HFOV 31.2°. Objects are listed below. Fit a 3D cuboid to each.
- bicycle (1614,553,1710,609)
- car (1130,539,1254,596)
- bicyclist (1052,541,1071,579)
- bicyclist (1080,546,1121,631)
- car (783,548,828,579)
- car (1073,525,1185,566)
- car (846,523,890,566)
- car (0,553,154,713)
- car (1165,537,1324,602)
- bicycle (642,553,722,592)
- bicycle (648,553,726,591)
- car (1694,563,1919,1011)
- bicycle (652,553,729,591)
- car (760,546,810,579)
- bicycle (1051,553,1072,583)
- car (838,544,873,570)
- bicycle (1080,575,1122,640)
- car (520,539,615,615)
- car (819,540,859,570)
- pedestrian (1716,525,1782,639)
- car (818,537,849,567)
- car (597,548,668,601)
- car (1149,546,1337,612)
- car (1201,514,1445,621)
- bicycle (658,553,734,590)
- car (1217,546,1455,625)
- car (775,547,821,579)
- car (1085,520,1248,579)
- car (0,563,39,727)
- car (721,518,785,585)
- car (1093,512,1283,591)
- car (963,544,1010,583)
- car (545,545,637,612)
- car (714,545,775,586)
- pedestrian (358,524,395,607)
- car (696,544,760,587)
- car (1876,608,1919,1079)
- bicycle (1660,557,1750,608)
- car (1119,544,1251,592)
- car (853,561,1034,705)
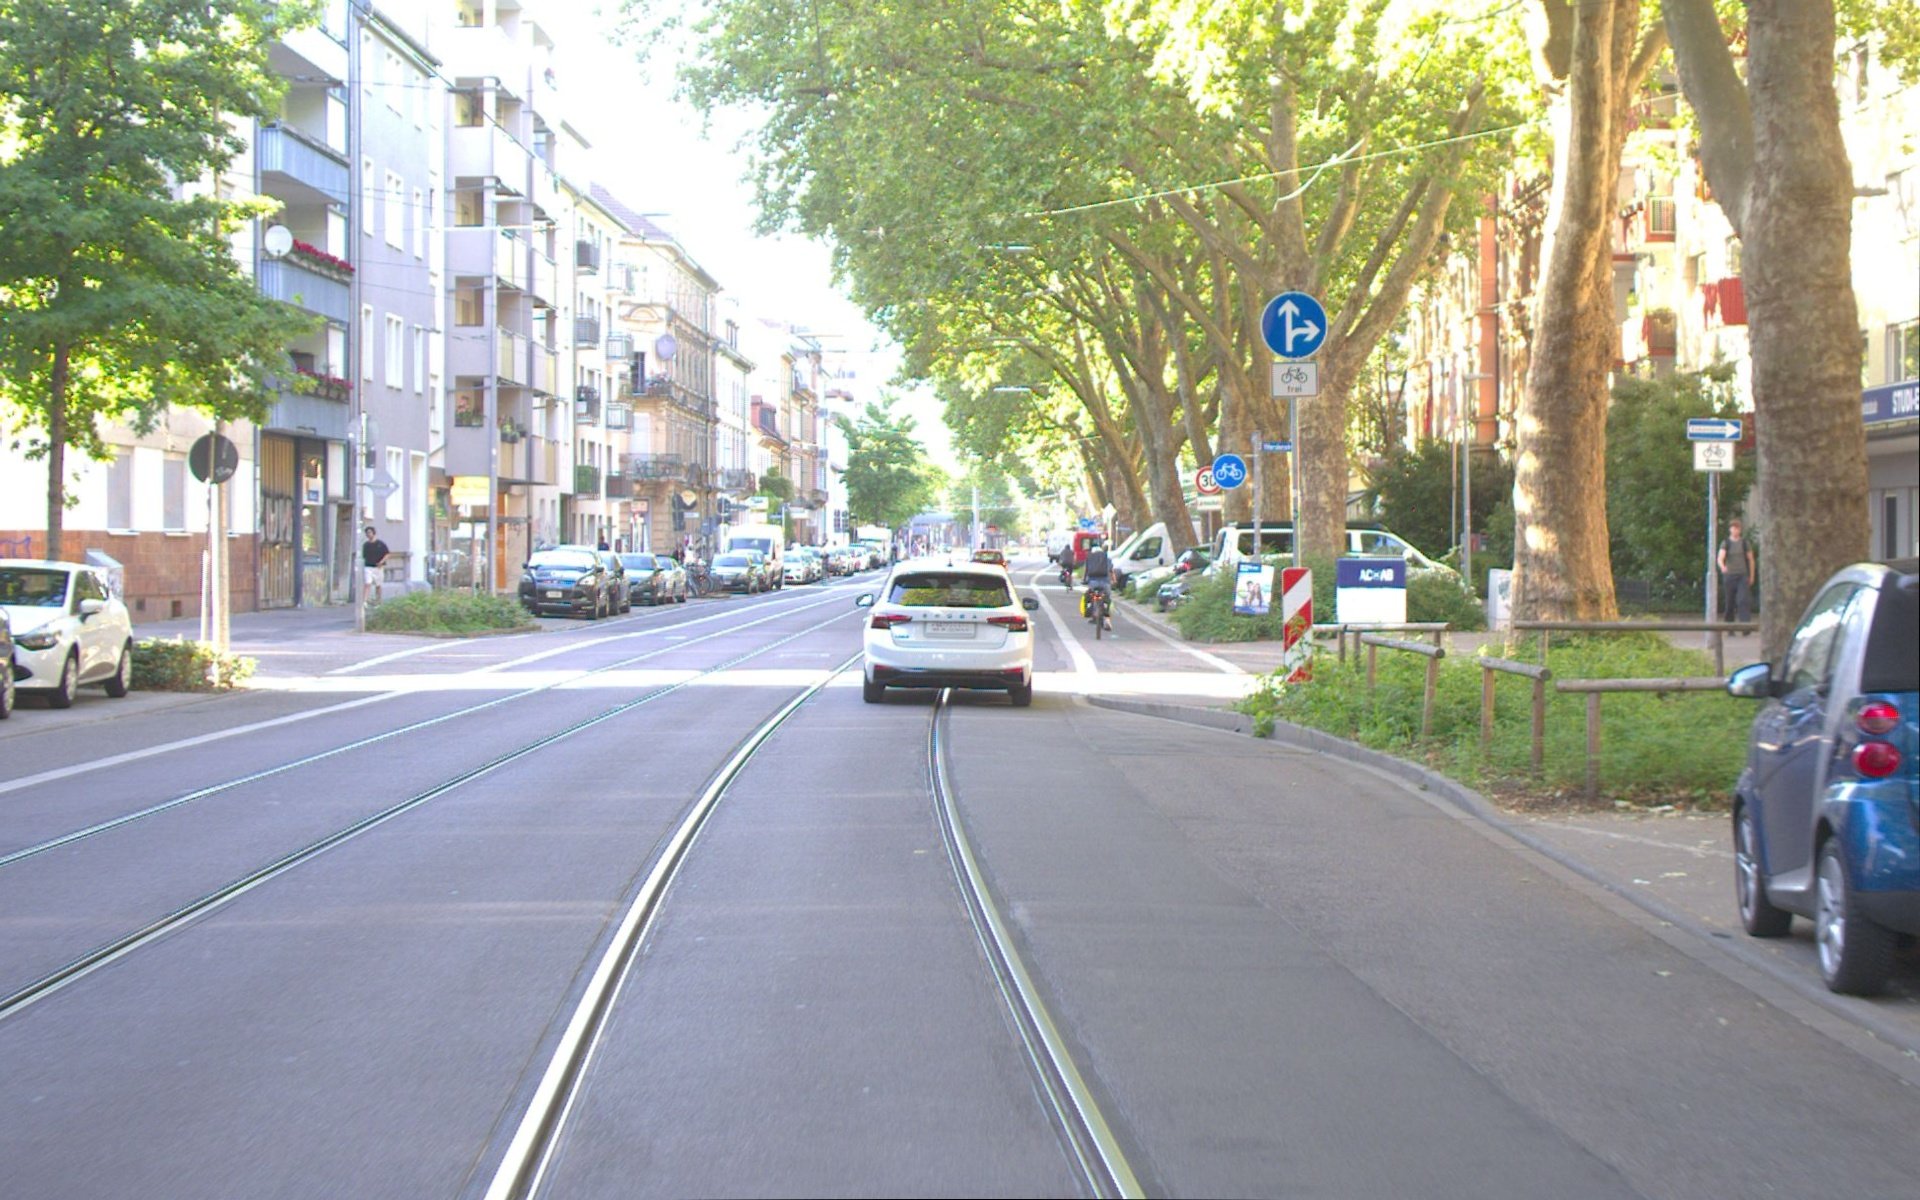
[{"bbox_3d":[15.293,-0.415,74.895,1.944,1.153,0.572,-2,1,-6],"label":"bicycle"},{"bbox_3d":[6.893,-0.977,102.358,3.634,1.661,1.822,0,1,3],"label":"car"},{"bbox_3d":[3.623,-1.424,122.984,0.649,1.339,0.934,0,1,-1],"label":"bicyclist"},{"bbox_3d":[2.408,-0.203,58.957,0.678,1.438,1.047,0,1,2],"label":"bicyclist"},{"bbox_3d":[-7.664,-1.827,170.839,1.993,1.525,4.000,0,1,1],"label":"car"},{"bbox_3d":[9.494,-3.066,193.415,6.130,2.274,2.529,0,1,-1],"label":"car"},{"bbox_3d":[-6.922,-4.185,259.425,2.968,3.145,5.847,1,0,1],"label":"car"},{"bbox_3d":[-9.625,0.289,35.484,1.713,1.459,4.377,3,0,-3],"label":"car"},{"bbox_3d":[7.406,-0.814,89.731,3.987,1.674,1.723,0,1,0],"label":"car"},{"bbox_3d":[-9.109,-0.908,112.815,2.525,1.168,0.883,2,-1,-39],"label":"bicycle"},{"bbox_3d":[-9.035,-0.917,113.696,2.524,1.168,0.719,2,-1,-5],"label":"bicycle"},{"bbox_3d":[3.835,0.617,13.089,1.564,1.514,2.910,-1,0,3],"label":"car"},{"bbox_3d":[-9.048,-0.949,115.571,2.524,1.168,0.719,2,-1,-4],"label":"bicycle"},{"bbox_3d":[-7.971,-1.721,156.880,1.993,1.525,4.000,0,1,1],"label":"car"},{"bbox_3d":[3.630,-1.135,122.975,0.649,1.067,1.583,0,1,-1],"label":"bicycle"},{"bbox_3d":[-6.617,-2.736,218.687,1.993,1.634,4.000,1,0,1],"label":"car"},{"bbox_3d":[2.416,0.122,58.909,0.681,1.067,1.781,0,1,1],"label":"bicycle"},{"bbox_3d":[-9.073,-0.564,79.741,1.702,1.645,4.242,2,1,-1],"label":"car"},{"bbox_3d":[-6.786,-2.532,192.856,1.993,1.634,4.000,1,0,1],"label":"car"},{"bbox_3d":[13.058,-0.307,56.931,0.766,1.860,1.189,0,1,-3],"label":"pedestrian"},{"bbox_3d":[-8.752,-3.329,238.016,1.993,2.007,4.000,0,1,1],"label":"car"},{"bbox_3d":[-9.101,-0.731,95.689,1.653,1.432,3.837,0,1,-1],"label":"car"},{"bbox_3d":[6.463,-0.490,78.838,4.142,1.509,1.931,0,1,0],"label":"car"},{"bbox_3d":[7.100,-0.646,67.605,4.543,2.069,2.001,0,1,-1],"label":"car"},{"bbox_3d":[-9.018,-0.972,117.475,2.524,1.168,0.719,2,-1,-5],"label":"bicycle"},{"bbox_3d":[7.077,-0.284,65.031,4.297,1.474,1.831,0,1,0],"label":"car"},{"bbox_3d":[-7.815,-1.792,166.032,1.993,1.525,4.000,0,1,1],"label":"car"},{"bbox_3d":[7.967,-1.963,133.205,6.130,2.274,2.529,0,1,-1],"label":"car"},{"bbox_3d":[-9.492,0.377,30.822,1.713,1.459,4.001,3,0,-6],"label":"car"},{"bbox_3d":[-8.188,-1.938,136.546,2.178,2.588,4.949,0,1,1],"label":"car"},{"bbox_3d":[7.577,-1.619,114.591,6.130,2.626,2.529,0,1,-1],"label":"car"},{"bbox_3d":[1.058,-1.449,135.482,1.761,1.470,4.000,0,1,1],"label":"car"},{"bbox_3d":[-9.087,-0.557,85.017,1.702,1.539,4.242,3,1,1],"label":"car"},{"bbox_3d":[-8.174,-1.314,130.608,1.993,1.525,4.000,0,1,1],"label":"car"},{"bbox_3d":[-12.921,-0.767,76.184,0.664,1.820,0.965,0,1,-1],"label":"pedestrian"},{"bbox_3d":[-8.414,-1.266,124.831,1.993,1.525,4.000,0,1,1],"label":"car"},{"bbox_3d":[3.909,0.726,8.549,1.816,1.431,4.603,-1,0,-3],"label":"car"},{"bbox_3d":[16.206,-0.385,74.808,1.791,1.038,0.618,-2,1,-3],"label":"bicycle"},{"bbox_3d":[7.297,-1.040,111.772,4.048,1.535,2.000,0,1,-5],"label":"car"},{"bbox_3d":[-0.175,0.304,35.647,1.761,1.379,4.000,0,1,0],"label":"car"}]
